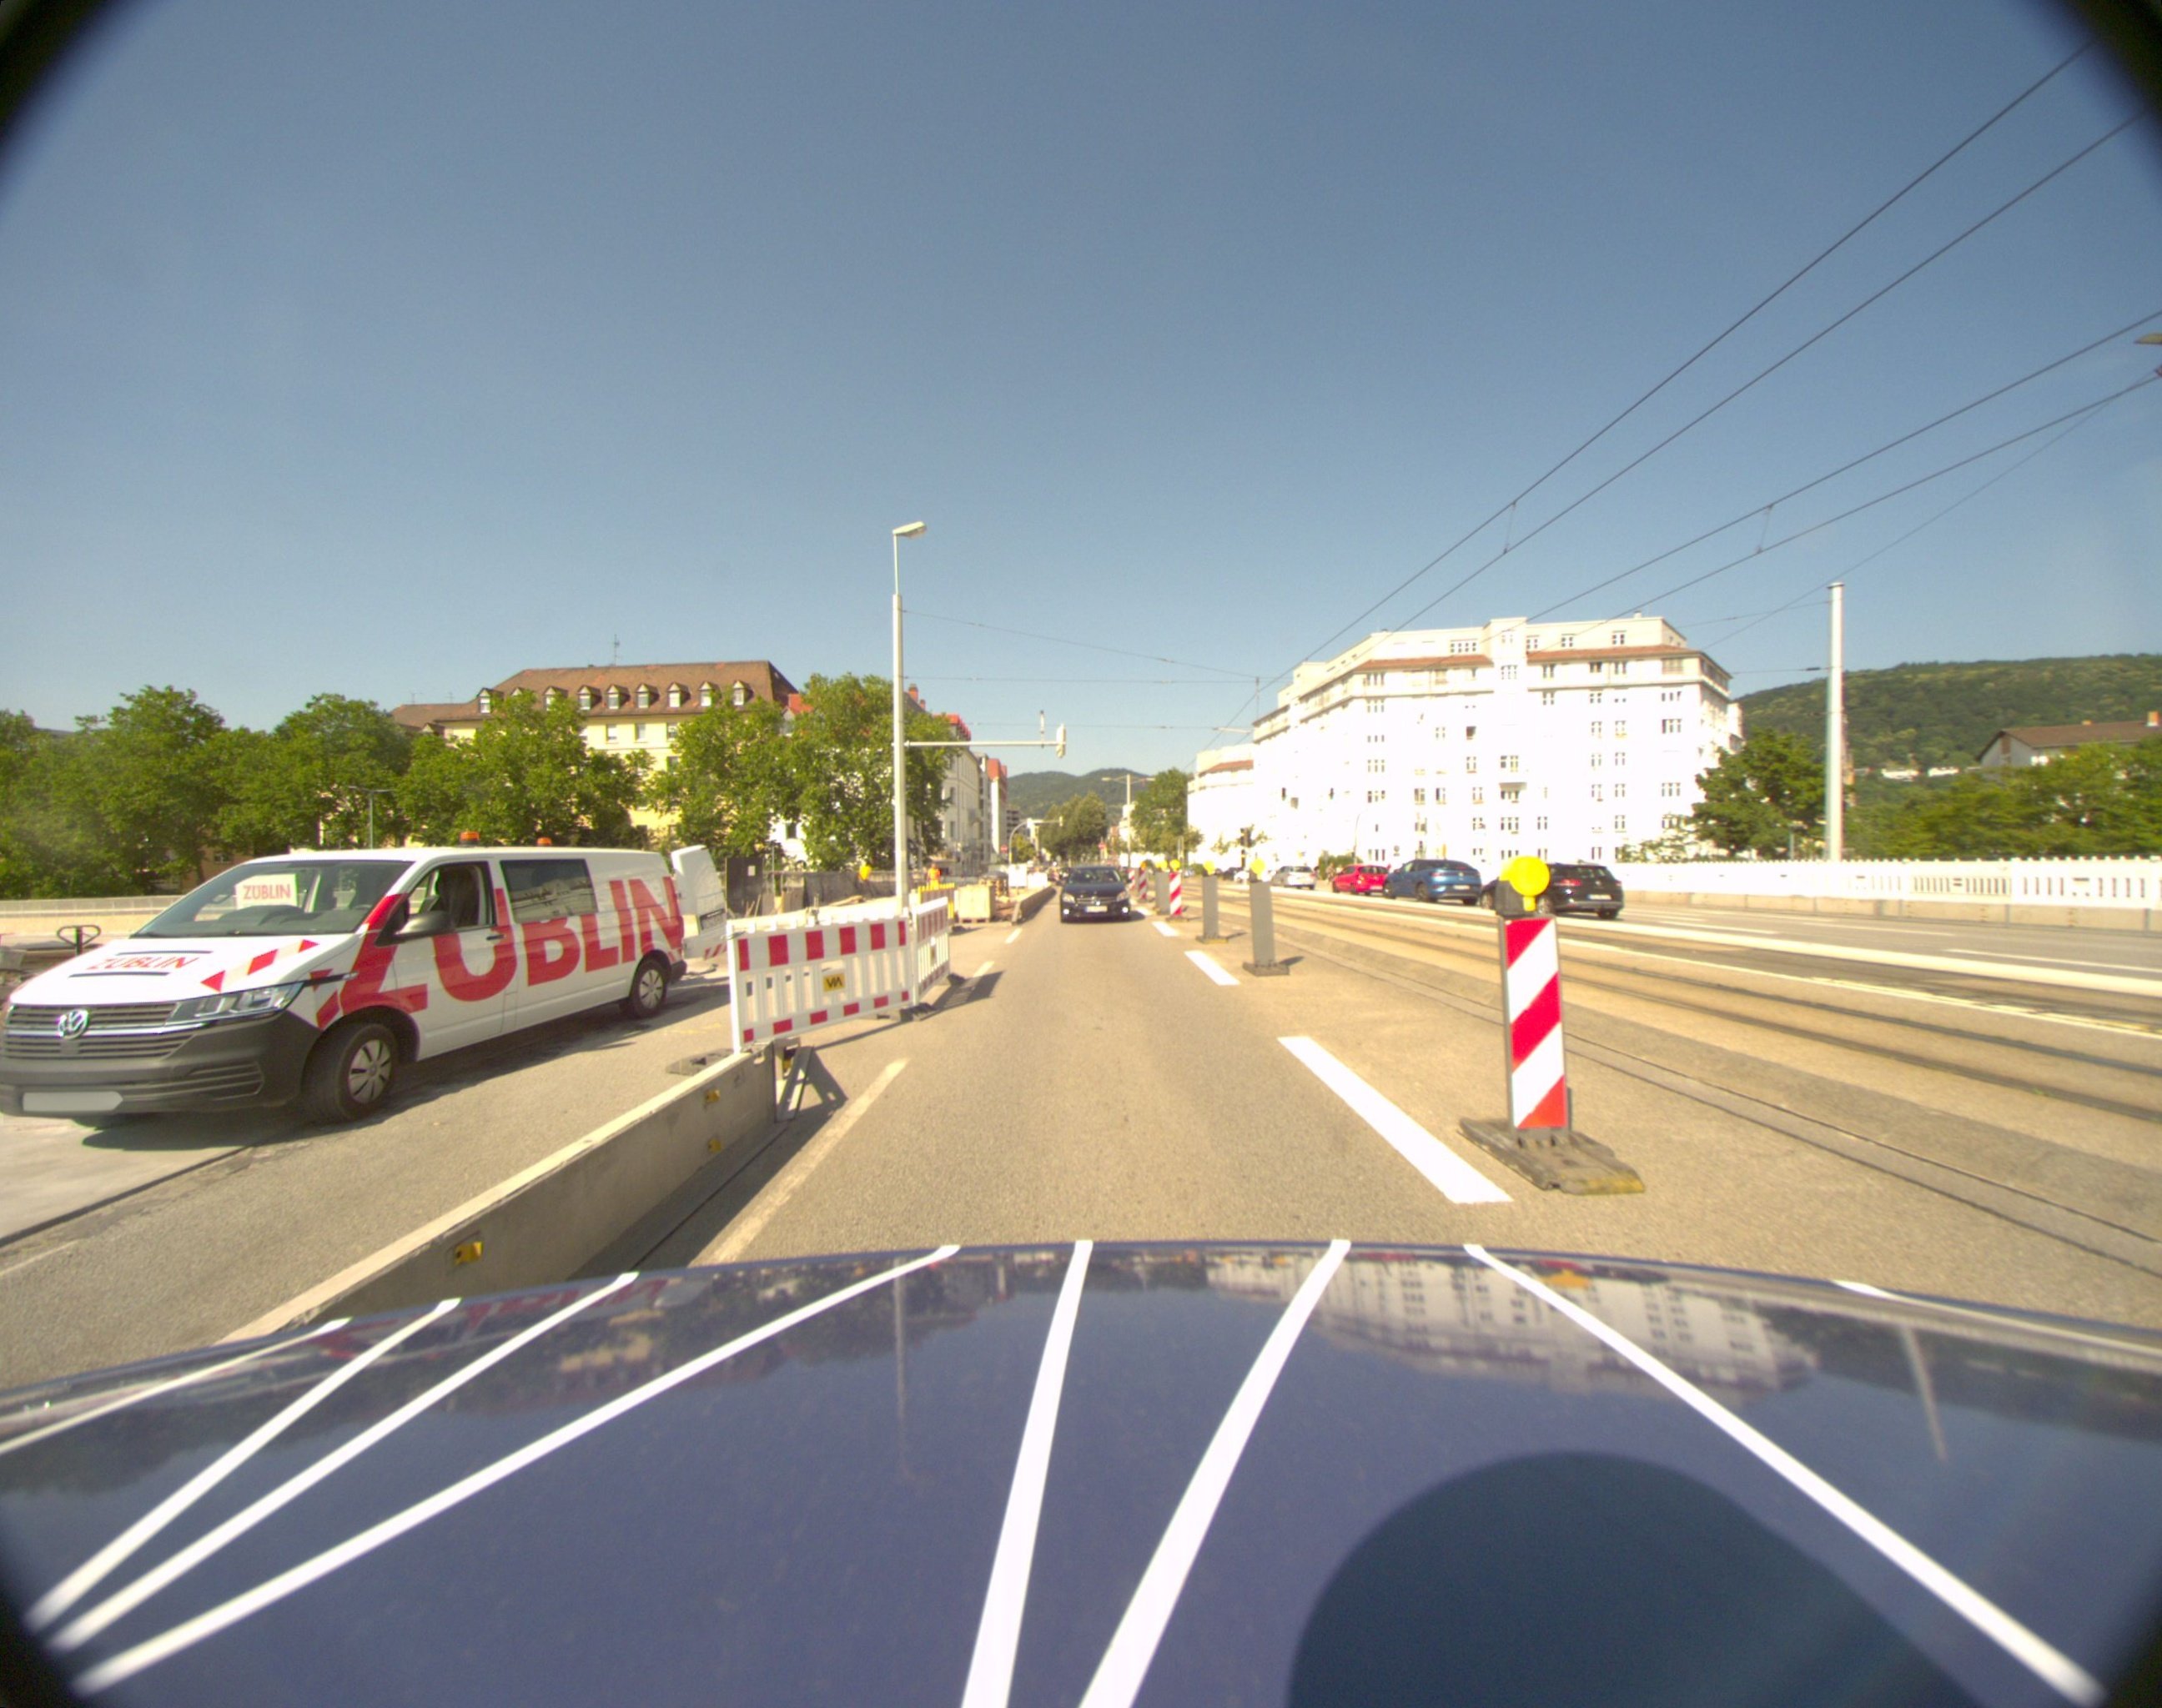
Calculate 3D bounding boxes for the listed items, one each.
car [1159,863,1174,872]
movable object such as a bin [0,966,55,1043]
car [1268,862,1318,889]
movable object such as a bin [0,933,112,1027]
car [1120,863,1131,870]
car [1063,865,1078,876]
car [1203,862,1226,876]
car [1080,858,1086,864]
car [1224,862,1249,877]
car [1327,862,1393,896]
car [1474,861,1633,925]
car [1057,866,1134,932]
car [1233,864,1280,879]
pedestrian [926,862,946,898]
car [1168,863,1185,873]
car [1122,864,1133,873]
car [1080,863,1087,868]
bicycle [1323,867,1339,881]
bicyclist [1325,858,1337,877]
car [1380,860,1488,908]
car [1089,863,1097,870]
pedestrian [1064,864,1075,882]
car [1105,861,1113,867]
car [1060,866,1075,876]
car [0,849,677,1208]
[{"bbox_3d":[13.770,2.192,122.316,1.740,1.475,3.739,-1,-1,-5],"label":"car"},{"bbox_3d":[-13.309,1.832,9.116,0.754,0.837,1.107,-1,-3,40],"label":"movable object such as a bin"},{"bbox_3d":[12.411,1.224,44.673,1.642,1.428,4.643,1,-1,0],"label":"car"},{"bbox_3d":[-14.220,1.733,10.392,2.038,1.123,0.609,-5,1,23],"label":"movable object such as a bin"},{"bbox_3d":[9.728,2.649,166.942,1.740,1.475,3.739,-1,-1,-5],"label":"car"},{"bbox_3d":[-1.392,2.178,100.477,1.767,1.346,3.999,-2,-1,-4],"label":"car"},{"bbox_3d":[16.552,1.853,94.357,1.740,1.628,3.738,-1,0,-7],"label":"car"},{"bbox_3d":[0.819,2.335,255.255,1.798,1.672,3.739,-1,0,-3],"label":"car"},{"bbox_3d":[17.510,1.731,85.821,1.740,1.628,3.739,-1,0,-5],"label":"car"},{"bbox_3d":[12.568,1.093,34.443,1.537,1.429,3.980,1,0,0],"label":"car"},{"bbox_3d":[12.115,0.932,19.821,1.509,1.491,4.177,1,0,0],"label":"car"},{"bbox_3d":[0.451,1.070,19.741,1.702,1.399,4.624,-3,0,3],"label":"car"},{"bbox_3d":[16.217,1.603,70.425,1.705,1.403,4.475,0,-1,-31],"label":"car"},{"bbox_3d":[-7.194,1.282,37.633,0.821,1.784,0.864,1,0,-1],"label":"pedestrian"},{"bbox_3d":[14.485,2.131,115.089,1.740,1.475,3.739,-1,-1,-5],"label":"car"},{"bbox_3d":[8.403,2.637,137.176,1.594,1.484,3.661,0,-1,-4],"label":"car"},{"bbox_3d":[0.734,3.297,215.453,1.798,1.475,3.739,-1,-1,-3],"label":"car"},{"bbox_3d":[21.319,1.684,64.814,0.618,1.093,1.785,-2,1,-3],"label":"bicycle"},{"bbox_3d":[21.299,1.132,64.711,0.623,1.580,0.917,-3,1,-3],"label":"bicyclist"},{"bbox_3d":[12.201,0.983,26.605,1.674,1.541,4.556,0,0,0],"label":"car"},{"bbox_3d":[2.764,2.832,174.037,1.696,1.546,3.655,0,-1,-3],"label":"car"},{"bbox_3d":[-1.141,1.812,74.043,1.003,1.697,0.822,-1,1,-7],"label":"pedestrian"},{"bbox_3d":[7.149,2.676,194.801,1.739,1.475,3.739,-1,-1,-3],"label":"car"},{"bbox_3d":[-1.969,2.384,107.786,1.768,1.346,3.998,-2,-1,-6],"label":"car"},{"bbox_3d":[-5.954,1.002,6.786,1.883,2.021,4.891,-2,0,2],"label":"car"}]
